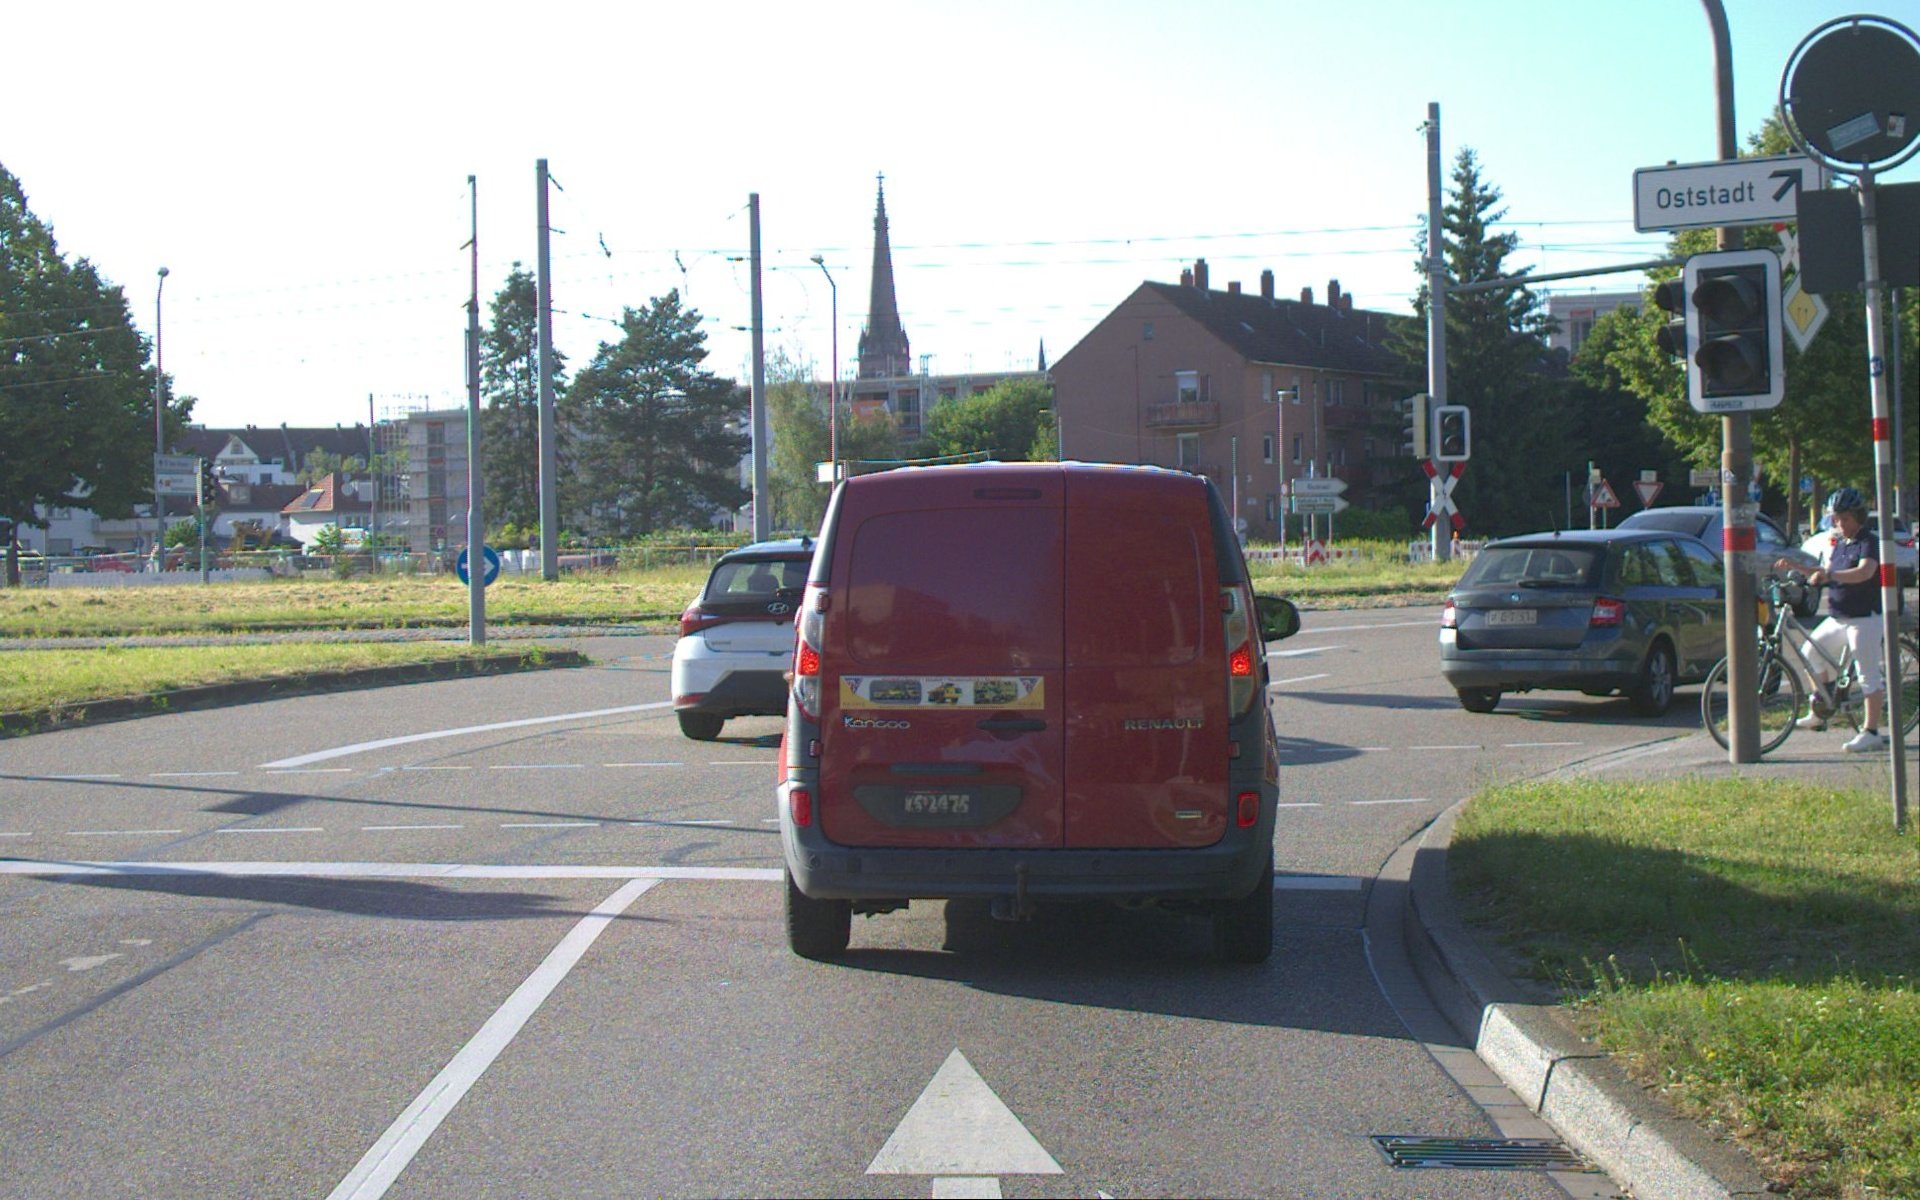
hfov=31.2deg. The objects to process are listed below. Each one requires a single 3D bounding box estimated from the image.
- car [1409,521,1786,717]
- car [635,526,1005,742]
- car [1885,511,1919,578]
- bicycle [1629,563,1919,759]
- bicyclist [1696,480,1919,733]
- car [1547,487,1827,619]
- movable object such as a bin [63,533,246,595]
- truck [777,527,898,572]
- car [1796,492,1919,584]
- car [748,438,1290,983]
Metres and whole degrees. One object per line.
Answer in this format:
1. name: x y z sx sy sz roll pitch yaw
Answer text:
1. car: 5.251 0.110 27.898 1.717 1.431 4.145 -1 1 30
2. car: -0.947 0.204 25.431 1.803 1.456 3.807 1 1 12
3. car: 23.286 -1.288 78.331 1.993 1.534 4.409 -2 2 -22
4. bicycle: 5.512 0.370 22.137 2.209 1.151 0.876 -2 0 -23
5. bicyclist: 5.481 0.042 22.122 1.084 1.556 0.876 -2 0 -23
6. car: 9.325 -0.623 43.838 1.997 1.569 4.400 0 2 33
7. movable object such as a bin: -38.028 -1.720 162.482 7.909 2.773 2.942 -2 1 -39
8. truck: -5.695 -2.309 159.090 2.165 2.007 6.434 1 0 -39
9. car: 16.826 -1.190 64.492 1.994 1.633 4.406 -1 1 11
10. car: 0.271 0.341 13.448 1.803 1.807 3.809 1 1 2
